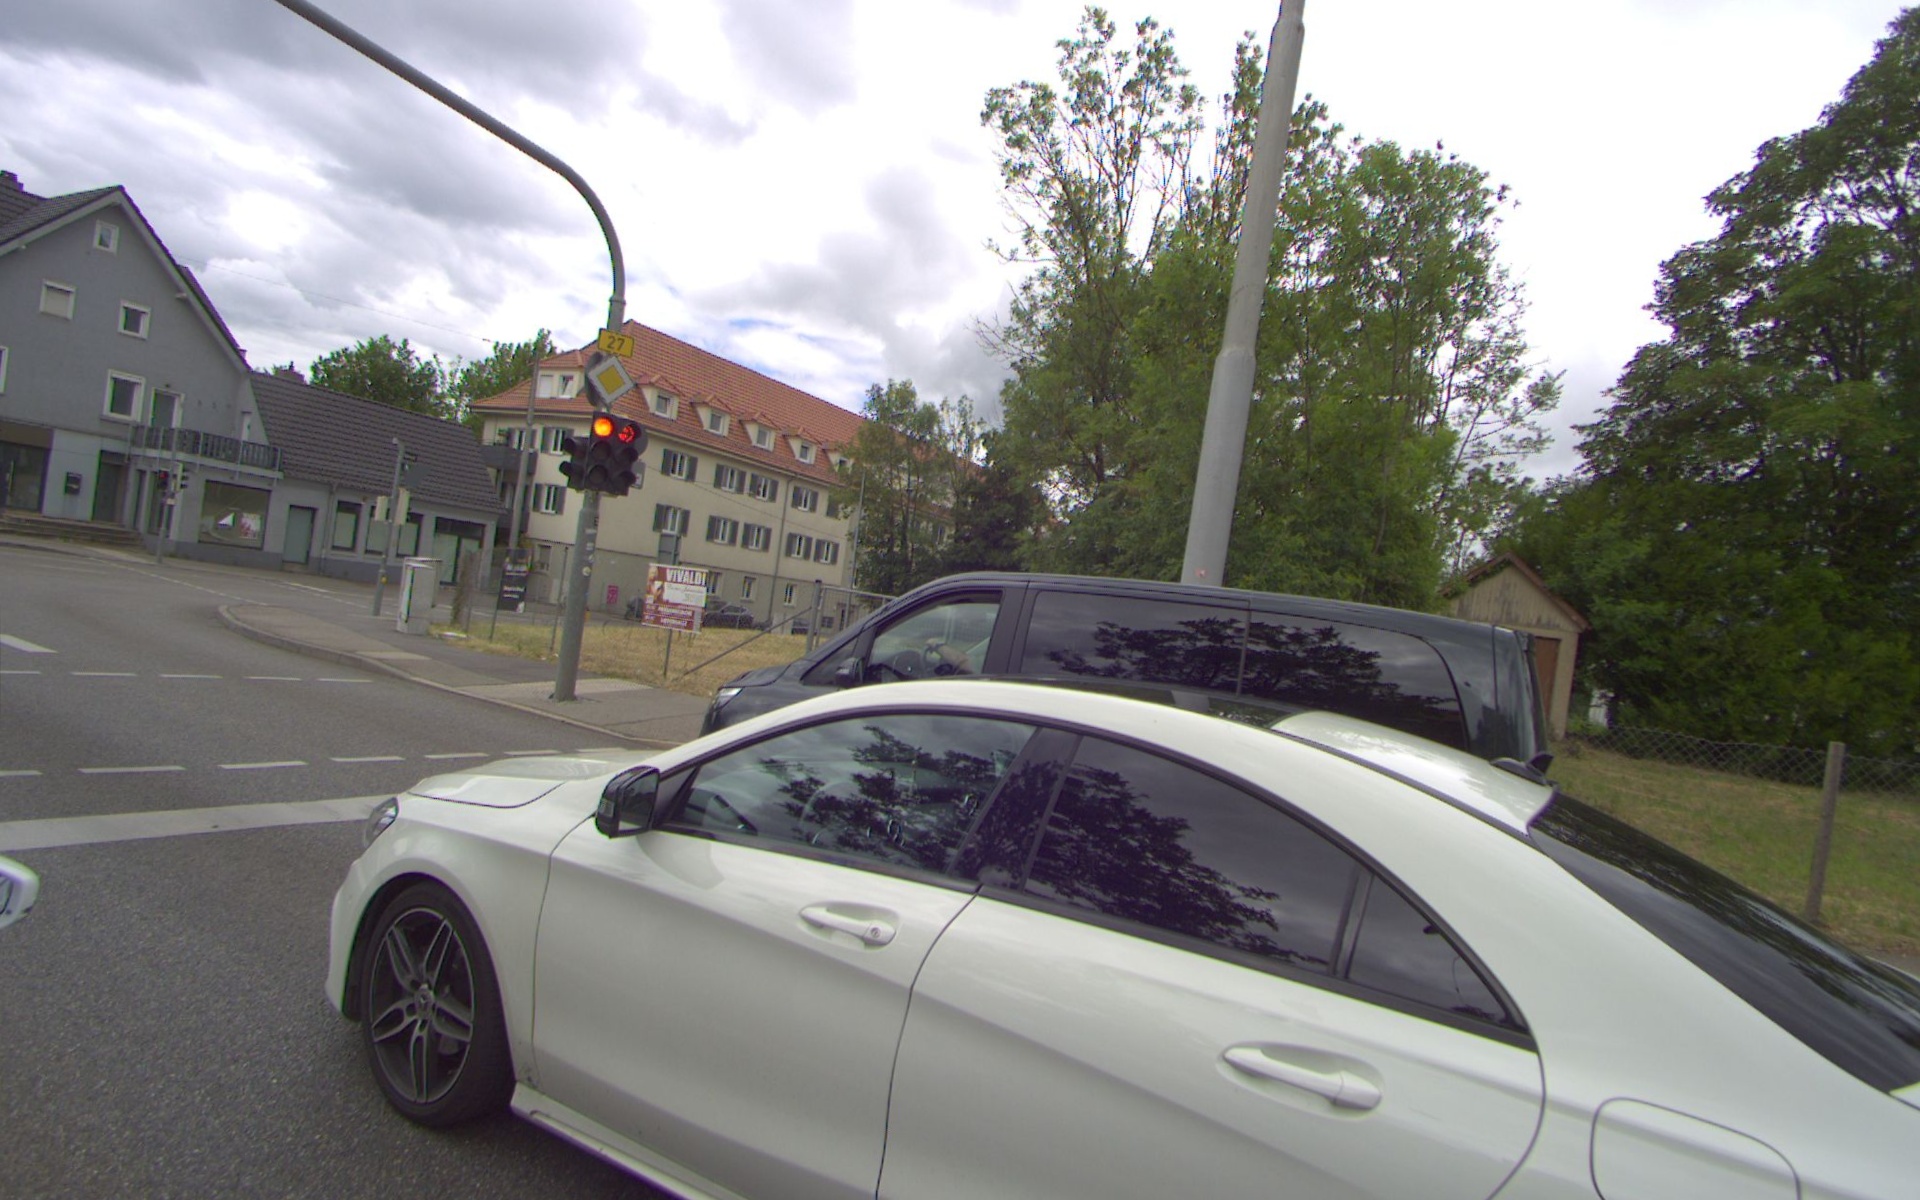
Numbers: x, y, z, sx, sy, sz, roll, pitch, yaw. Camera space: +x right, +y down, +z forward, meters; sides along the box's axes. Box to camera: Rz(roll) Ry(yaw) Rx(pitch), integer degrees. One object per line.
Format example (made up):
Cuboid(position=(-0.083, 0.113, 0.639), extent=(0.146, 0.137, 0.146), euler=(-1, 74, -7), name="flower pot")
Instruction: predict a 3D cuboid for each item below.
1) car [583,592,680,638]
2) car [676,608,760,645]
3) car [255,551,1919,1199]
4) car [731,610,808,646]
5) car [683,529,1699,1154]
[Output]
Cuboid(position=(-15.517, 0.734, 47.661), extent=(1.839, 1.554, 3.996), euler=(7, -2, 32), name="car")
Cuboid(position=(-12.622, 1.396, 52.650), extent=(1.839, 1.393, 3.996), euler=(7, -2, 32), name="car")
Cuboid(position=(0.161, 0.849, 2.641), extent=(4.305, 1.451, 1.651), euler=(7, 0, 32), name="car")
Cuboid(position=(-10.186, 1.516, 54.080), extent=(1.838, 1.393, 3.998), euler=(7, -2, 29), name="car")
Cuboid(position=(0.956, 0.845, 5.497), extent=(4.631, 1.860, 1.953), euler=(7, -2, 32), name="car")
